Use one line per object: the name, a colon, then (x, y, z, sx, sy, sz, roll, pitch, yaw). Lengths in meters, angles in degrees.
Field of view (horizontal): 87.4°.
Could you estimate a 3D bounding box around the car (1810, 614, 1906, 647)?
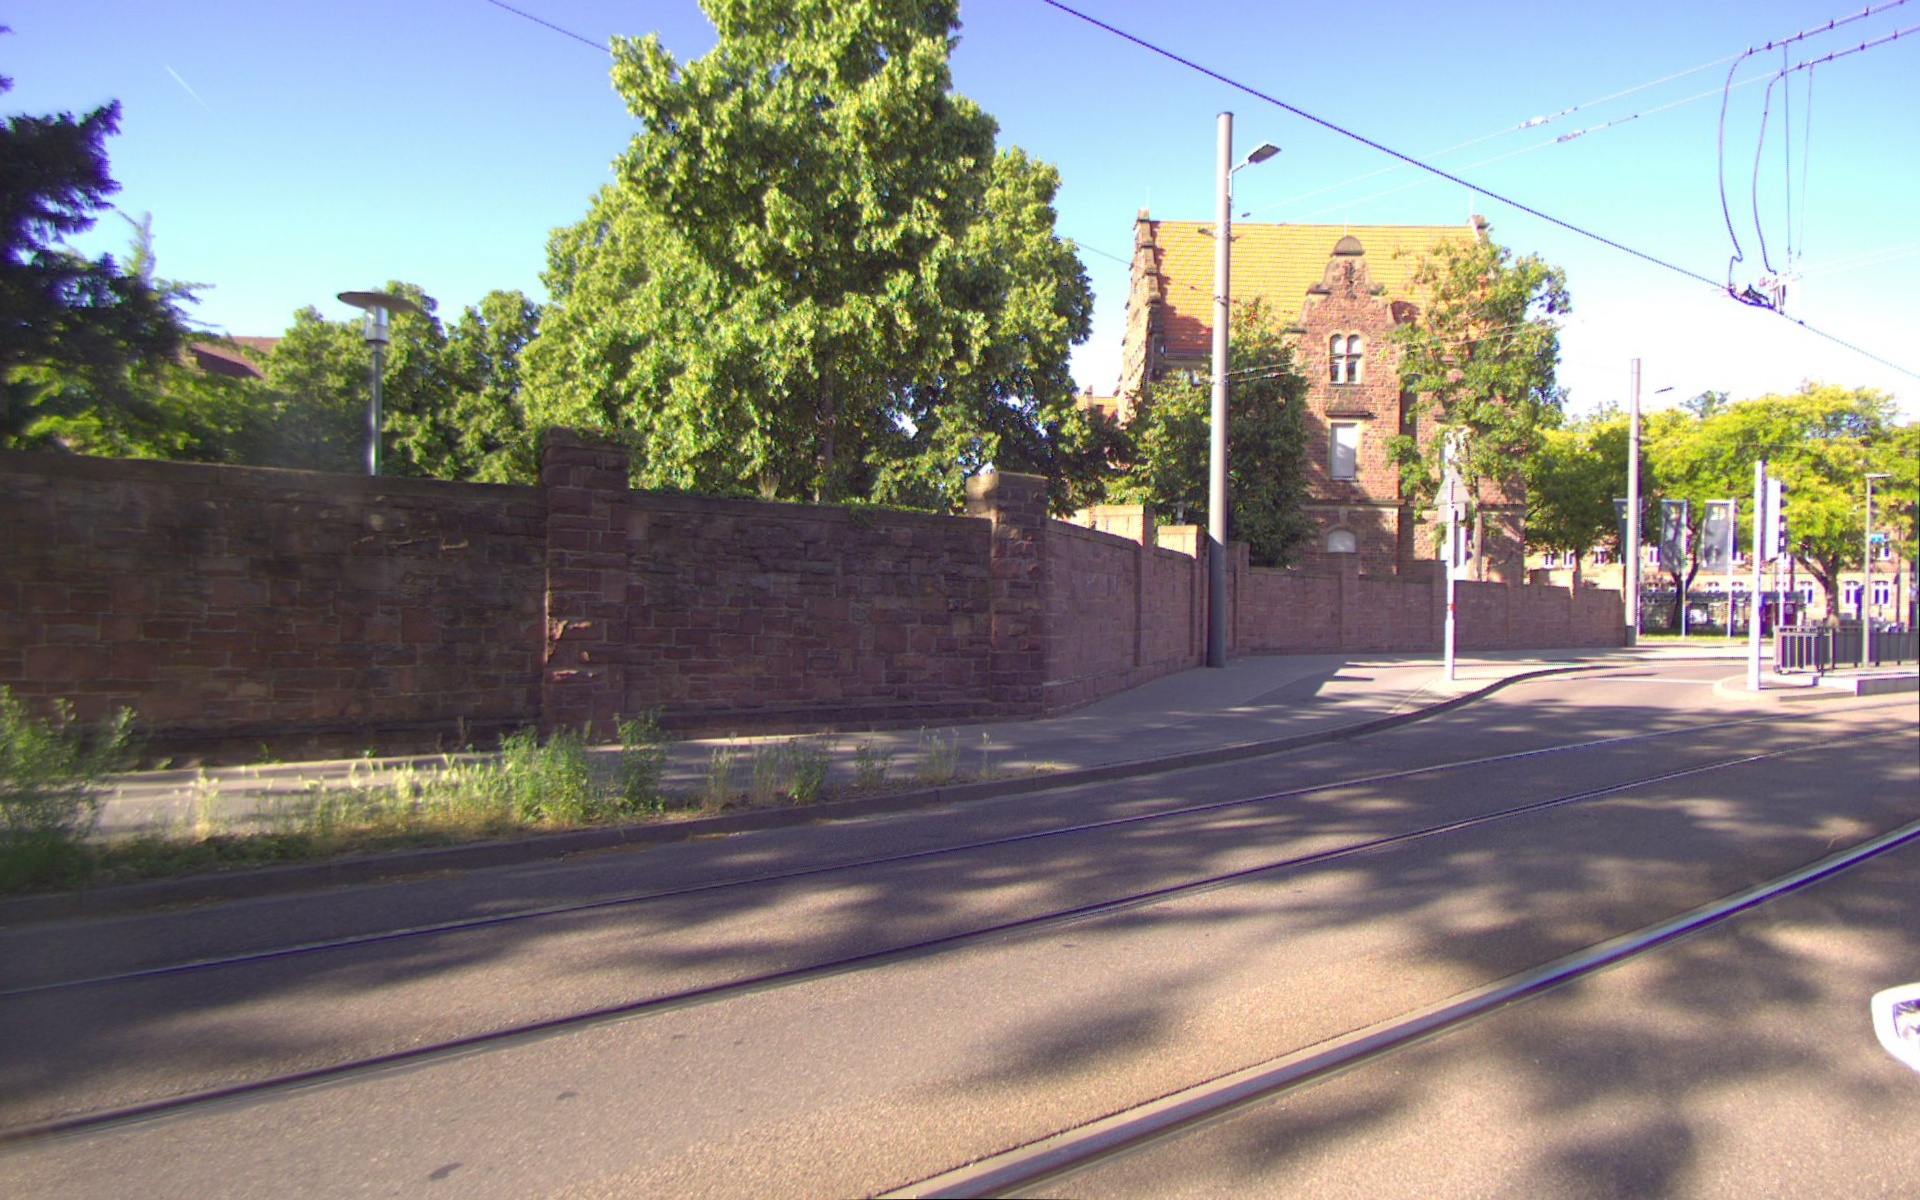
car: (54.217, 1.826, 60.699, 1.979, 1.813, 3.963, 1, 0, -33)
